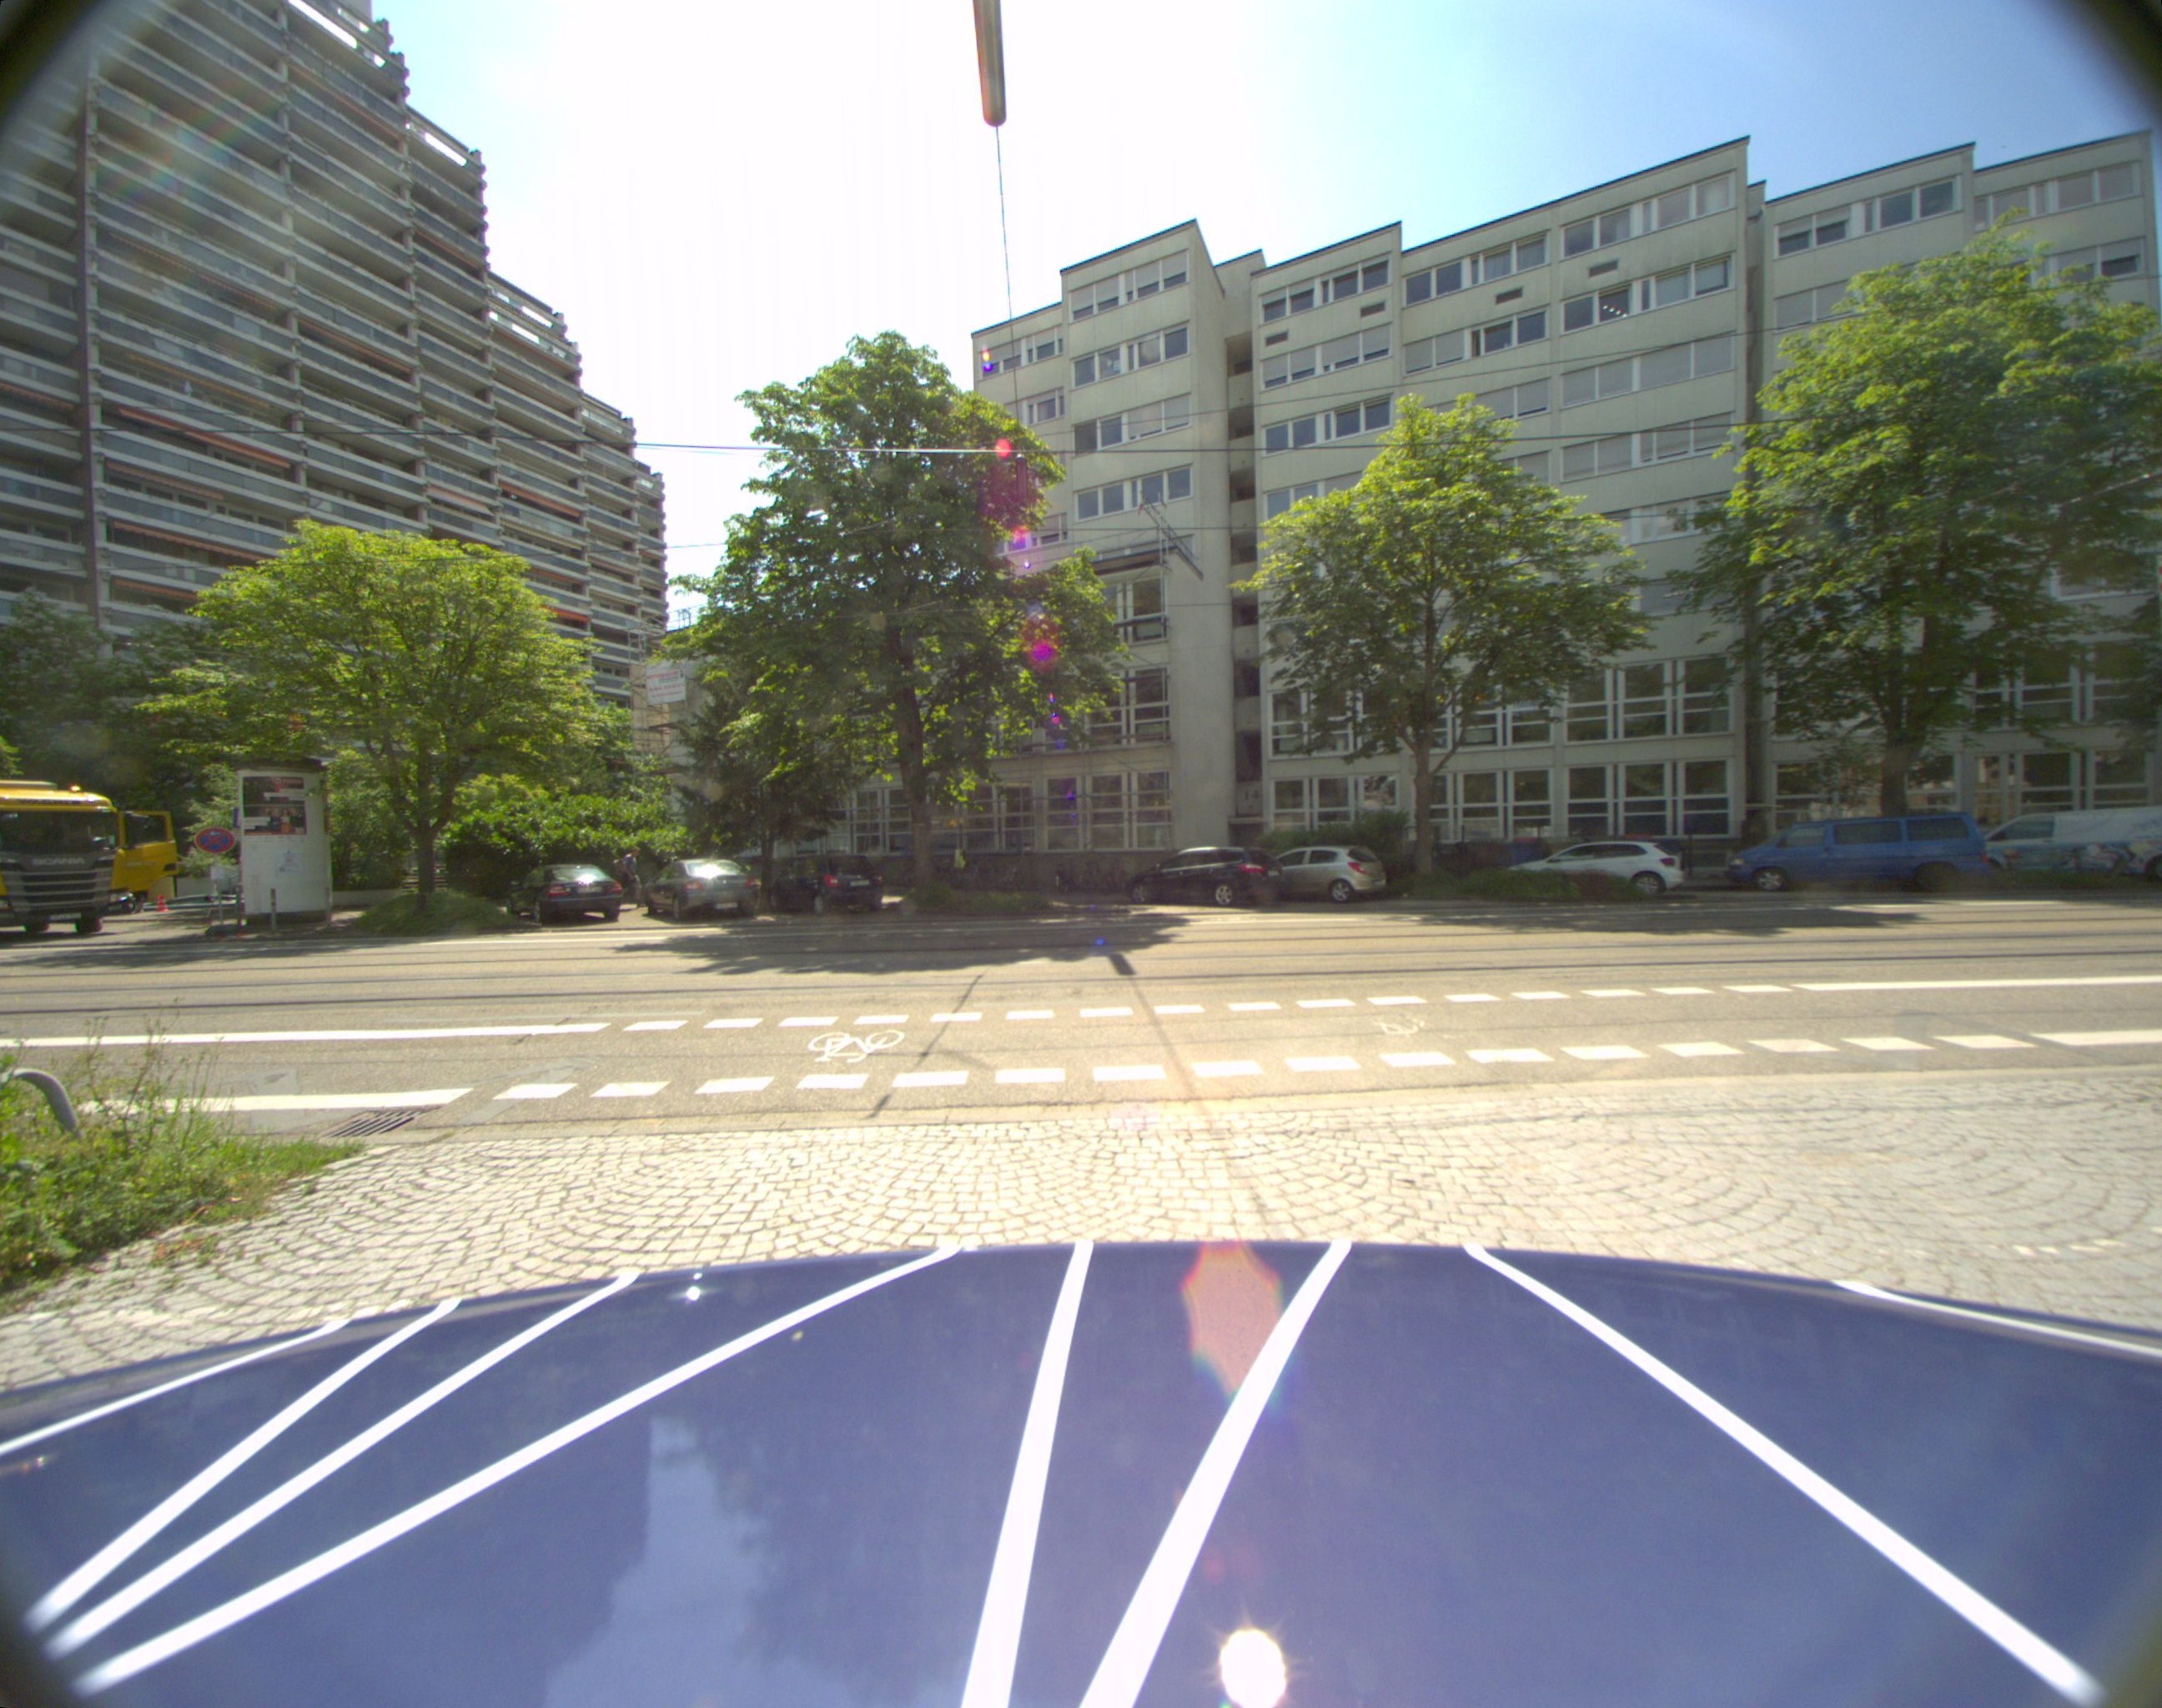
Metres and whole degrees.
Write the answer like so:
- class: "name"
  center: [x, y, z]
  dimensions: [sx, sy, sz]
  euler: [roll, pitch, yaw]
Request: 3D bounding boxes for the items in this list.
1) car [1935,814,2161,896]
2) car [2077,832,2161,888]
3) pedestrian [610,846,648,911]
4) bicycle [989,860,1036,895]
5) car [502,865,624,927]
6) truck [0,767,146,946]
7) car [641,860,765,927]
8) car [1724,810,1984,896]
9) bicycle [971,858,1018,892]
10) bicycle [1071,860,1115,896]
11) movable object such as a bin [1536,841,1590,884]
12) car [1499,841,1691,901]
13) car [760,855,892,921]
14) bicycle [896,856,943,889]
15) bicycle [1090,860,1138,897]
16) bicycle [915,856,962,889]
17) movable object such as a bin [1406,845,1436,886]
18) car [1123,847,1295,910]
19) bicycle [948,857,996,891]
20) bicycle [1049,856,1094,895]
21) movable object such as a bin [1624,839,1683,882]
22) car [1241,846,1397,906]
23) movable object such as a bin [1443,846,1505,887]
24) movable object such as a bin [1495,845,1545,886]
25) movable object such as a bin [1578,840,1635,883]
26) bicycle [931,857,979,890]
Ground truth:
- class: "car"
  center: [26.257, 0.017, 20.193]
  dimensions: [2.004, 2.002, 4.618]
  euler: [-2, 1, -39]
- class: "car"
  center: [29.788, 0.148, 20.174]
  dimensions: [1.674, 1.477, 3.990]
  euler: [-2, 1, -35]
- class: "pedestrian"
  center: [-13.070, 0.702, 21.980]
  dimensions: [0.576, 1.864, 0.716]
  euler: [-1, 1, 13]
- class: "bicycle"
  center: [-2.335, 0.784, 26.221]
  dimensions: [0.567, 1.124, 1.947]
  euler: [-1, 1, 30]
- class: "car"
  center: [-13.182, 0.989, 19.262]
  dimensions: [4.011, 1.365, 1.633]
  euler: [-1, 1, 42]
- class: "truck"
  center: [-28.497, 0.139, 18.902]
  dimensions: [9.726, 3.983, 2.753]
  euler: [-1, 1, 15]
- class: "car"
  center: [-9.693, 0.922, 19.338]
  dimensions: [1.823, 1.454, 4.011]
  euler: [-2, 1, -41]
- class: "car"
  center: [20.061, -0.021, 20.034]
  dimensions: [4.617, 2.002, 2.004]
  euler: [-1, 1, 44]
- class: "bicycle"
  center: [-3.000, 0.713, 26.649]
  dimensions: [0.567, 1.124, 1.947]
  euler: [-1, 1, 30]
- class: "bicycle"
  center: [0.427, 0.793, 25.560]
  dimensions: [0.567, 1.124, 1.947]
  euler: [-1, 1, 30]
- class: "movable object such as a bin"
  center: [16.168, 0.293, 25.508]
  dimensions: [1.180, 1.390, 1.038]
  euler: [-1, 0, 7]
- class: "car"
  center: [13.448, 0.427, 19.996]
  dimensions: [3.970, 1.405, 1.718]
  euler: [-1, 1, 42]
- class: "car"
  center: [-6.598, 0.814, 19.499]
  dimensions: [3.566, 1.508, 1.653]
  euler: [-1, 1, 43]
- class: "bicycle"
  center: [-5.942, 0.659, 28.088]
  dimensions: [0.567, 1.124, 1.931]
  euler: [-1, 1, 27]
- class: "bicycle"
  center: [1.111, 0.796, 25.106]
  dimensions: [0.567, 1.124, 2.239]
  euler: [-1, 1, 30]
- class: "bicycle"
  center: [-5.201, 0.668, 27.842]
  dimensions: [0.567, 1.124, 1.931]
  euler: [-1, 1, 27]
- class: "movable object such as a bin"
  center: [11.895, 0.404, 26.613]
  dimensions: [0.802, 1.397, 0.768]
  euler: [-1, 0, 13]
- class: "car"
  center: [3.298, 0.613, 20.077]
  dimensions: [4.185, 1.461, 1.757]
  euler: [-1, 1, 43]
- class: "bicycle"
  center: [-3.875, 0.697, 27.104]
  dimensions: [0.567, 1.124, 1.947]
  euler: [-1, 1, 30]
- class: "bicycle"
  center: [-0.310, 0.721, 25.912]
  dimensions: [0.567, 1.230, 1.947]
  euler: [-1, 1, 30]
- class: "movable object such as a bin"
  center: [19.113, 0.216, 25.395]
  dimensions: [1.180, 1.390, 1.038]
  euler: [-1, 0, 7]
- class: "car"
  center: [6.273, 0.550, 20.221]
  dimensions: [3.530, 1.454, 1.758]
  euler: [-1, 1, 43]
- class: "movable object such as a bin"
  center: [13.066, 0.407, 25.283]
  dimensions: [1.451, 1.322, 1.126]
  euler: [-1, 0, 0]
- class: "movable object such as a bin"
  center: [14.638, 0.366, 25.368]
  dimensions: [1.076, 1.322, 0.971]
  euler: [-1, 0, 0]
- class: "movable object such as a bin"
  center: [17.584, 0.256, 25.456]
  dimensions: [1.180, 1.390, 1.038]
  euler: [-1, 0, 7]
- class: "bicycle"
  center: [-4.534, 0.697, 27.455]
  dimensions: [0.567, 1.124, 1.931]
  euler: [-1, 1, 30]
